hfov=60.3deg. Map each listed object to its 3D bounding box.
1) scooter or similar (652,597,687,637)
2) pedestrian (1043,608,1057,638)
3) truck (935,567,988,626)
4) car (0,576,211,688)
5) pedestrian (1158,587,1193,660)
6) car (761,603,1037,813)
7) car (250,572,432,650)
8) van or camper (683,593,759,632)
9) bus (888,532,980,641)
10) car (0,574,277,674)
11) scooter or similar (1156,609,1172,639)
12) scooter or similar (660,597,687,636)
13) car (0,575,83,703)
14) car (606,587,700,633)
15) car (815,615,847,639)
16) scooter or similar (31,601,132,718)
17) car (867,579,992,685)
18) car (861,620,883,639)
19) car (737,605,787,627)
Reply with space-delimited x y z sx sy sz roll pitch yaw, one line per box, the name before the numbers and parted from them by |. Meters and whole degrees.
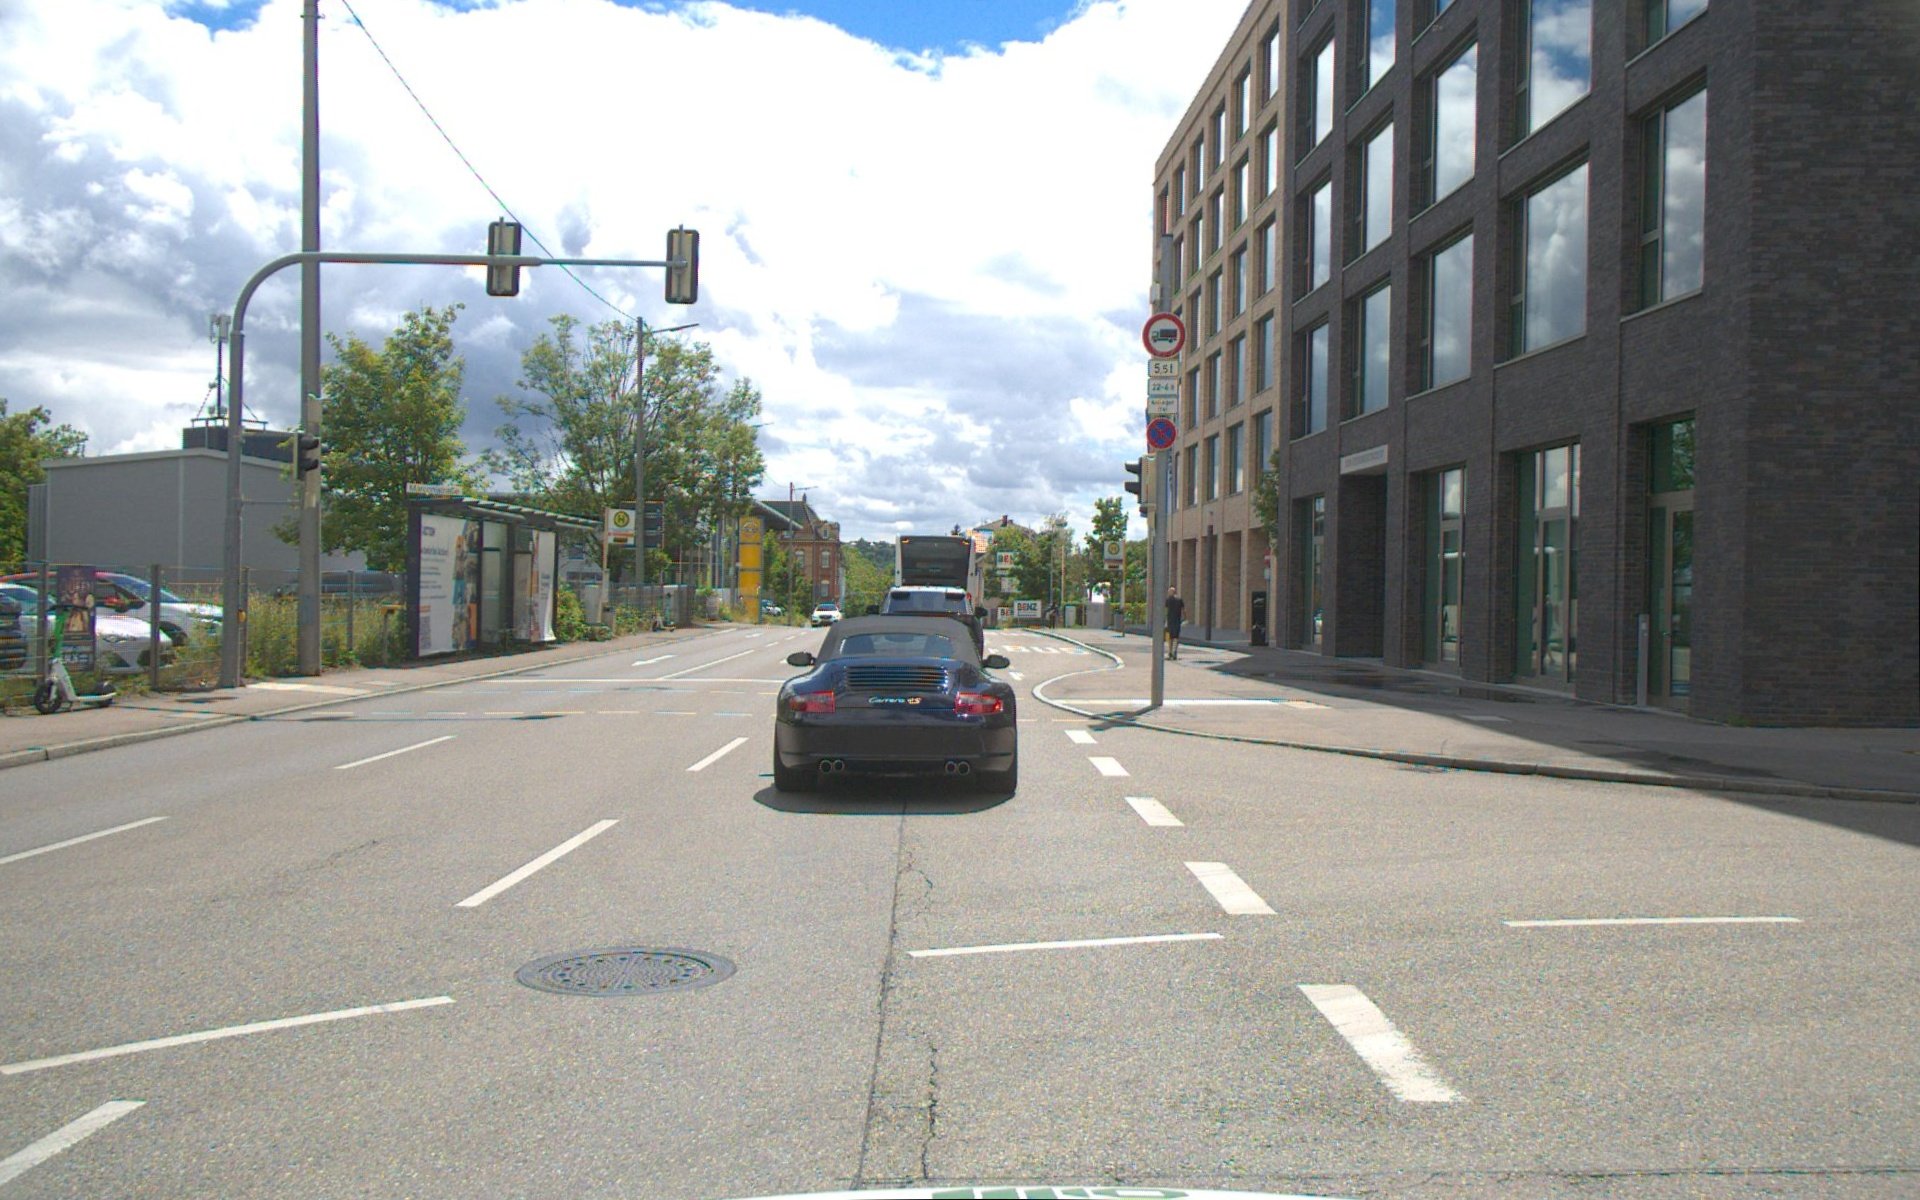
scooter or similar | -9.677 0.560 55.081 0.523 1.284 1.472 2 0 16
pedestrian | 4.840 1.237 88.602 0.673 1.563 0.856 0 -1 -2
truck | 0.034 -0.165 91.372 2.659 3.108 7.710 0 0 -2
car | -12.614 0.404 22.427 4.019 1.444 1.916 1 0 -1
pedestrian | 5.252 0.566 40.379 0.669 1.758 0.962 1 0 -2
car | -0.441 0.754 13.595 1.891 1.401 4.207 1 0 -1
car | -16.648 0.310 44.706 4.197 2.049 2.137 1 -1 -9
van or camper | -16.523 0.857 114.546 4.926 2.575 2.317 1 0 -2
bus | -0.783 -0.439 56.510 2.745 3.254 12.195 1 0 0
car | -13.054 0.348 25.458 4.222 1.444 2.025 1 0 0
scooter or similar | 8.120 0.936 65.750 0.418 1.173 1.403 0 -1 -2
scooter or similar | -9.800 0.551 56.576 0.523 1.288 1.472 2 0 4
car | -12.878 0.418 19.460 4.022 1.444 1.998 1 0 -4
car | -14.409 0.474 77.823 4.078 2.049 2.197 1 0 -4
car | -8.047 1.645 103.219 1.760 1.401 4.223 0 0 -2
scooter or similar | -9.651 0.638 18.202 0.415 1.231 1.126 2 0 3
car | -0.583 0.496 27.617 1.892 1.611 4.205 1 0 -4
car | -7.170 2.436 134.700 1.793 1.535 4.273 0 -2 -3
car | -15.325 1.244 128.317 1.891 1.600 4.552 0 -2 21
